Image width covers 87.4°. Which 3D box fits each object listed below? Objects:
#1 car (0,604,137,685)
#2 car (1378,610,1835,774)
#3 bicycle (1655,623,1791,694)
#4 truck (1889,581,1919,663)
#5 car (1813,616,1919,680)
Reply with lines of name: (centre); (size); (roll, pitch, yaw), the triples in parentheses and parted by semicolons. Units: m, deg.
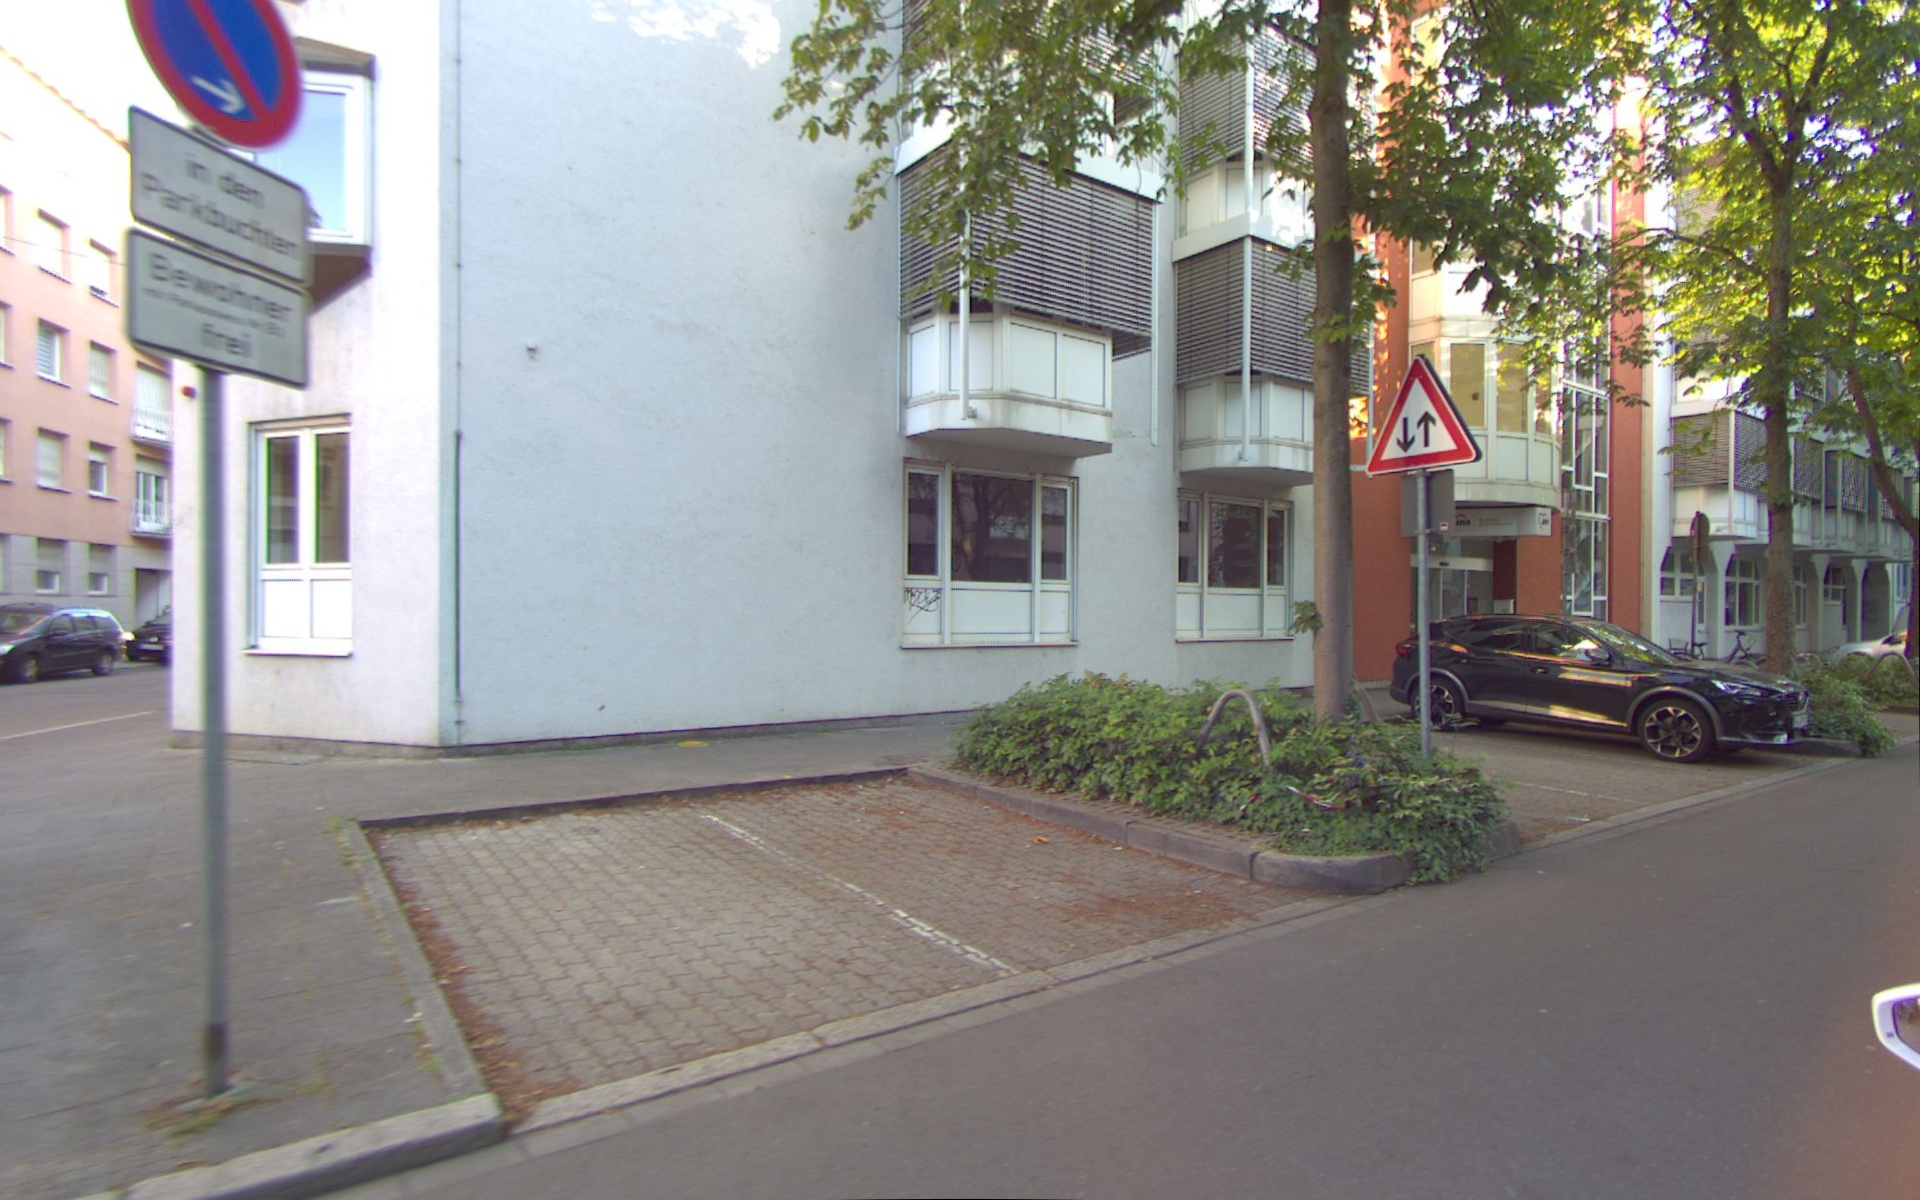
car: (-19.372, 0.871, 20.986); (1.666, 1.534, 4.272); (0, -1, -13)
car: (7.600, 0.935, 12.249); (1.817, 1.529, 4.327); (1, 0, -35)
bicycle: (14.034, 1.049, 18.518); (1.949, 1.215, 0.499); (0, 0, 44)
truck: (30.885, 0.685, 29.523); (1.896, 2.474, 4.967); (-1, 1, -34)
car: (23.995, 1.209, 24.873); (1.624, 1.491, 4.104); (1, 0, -35)
